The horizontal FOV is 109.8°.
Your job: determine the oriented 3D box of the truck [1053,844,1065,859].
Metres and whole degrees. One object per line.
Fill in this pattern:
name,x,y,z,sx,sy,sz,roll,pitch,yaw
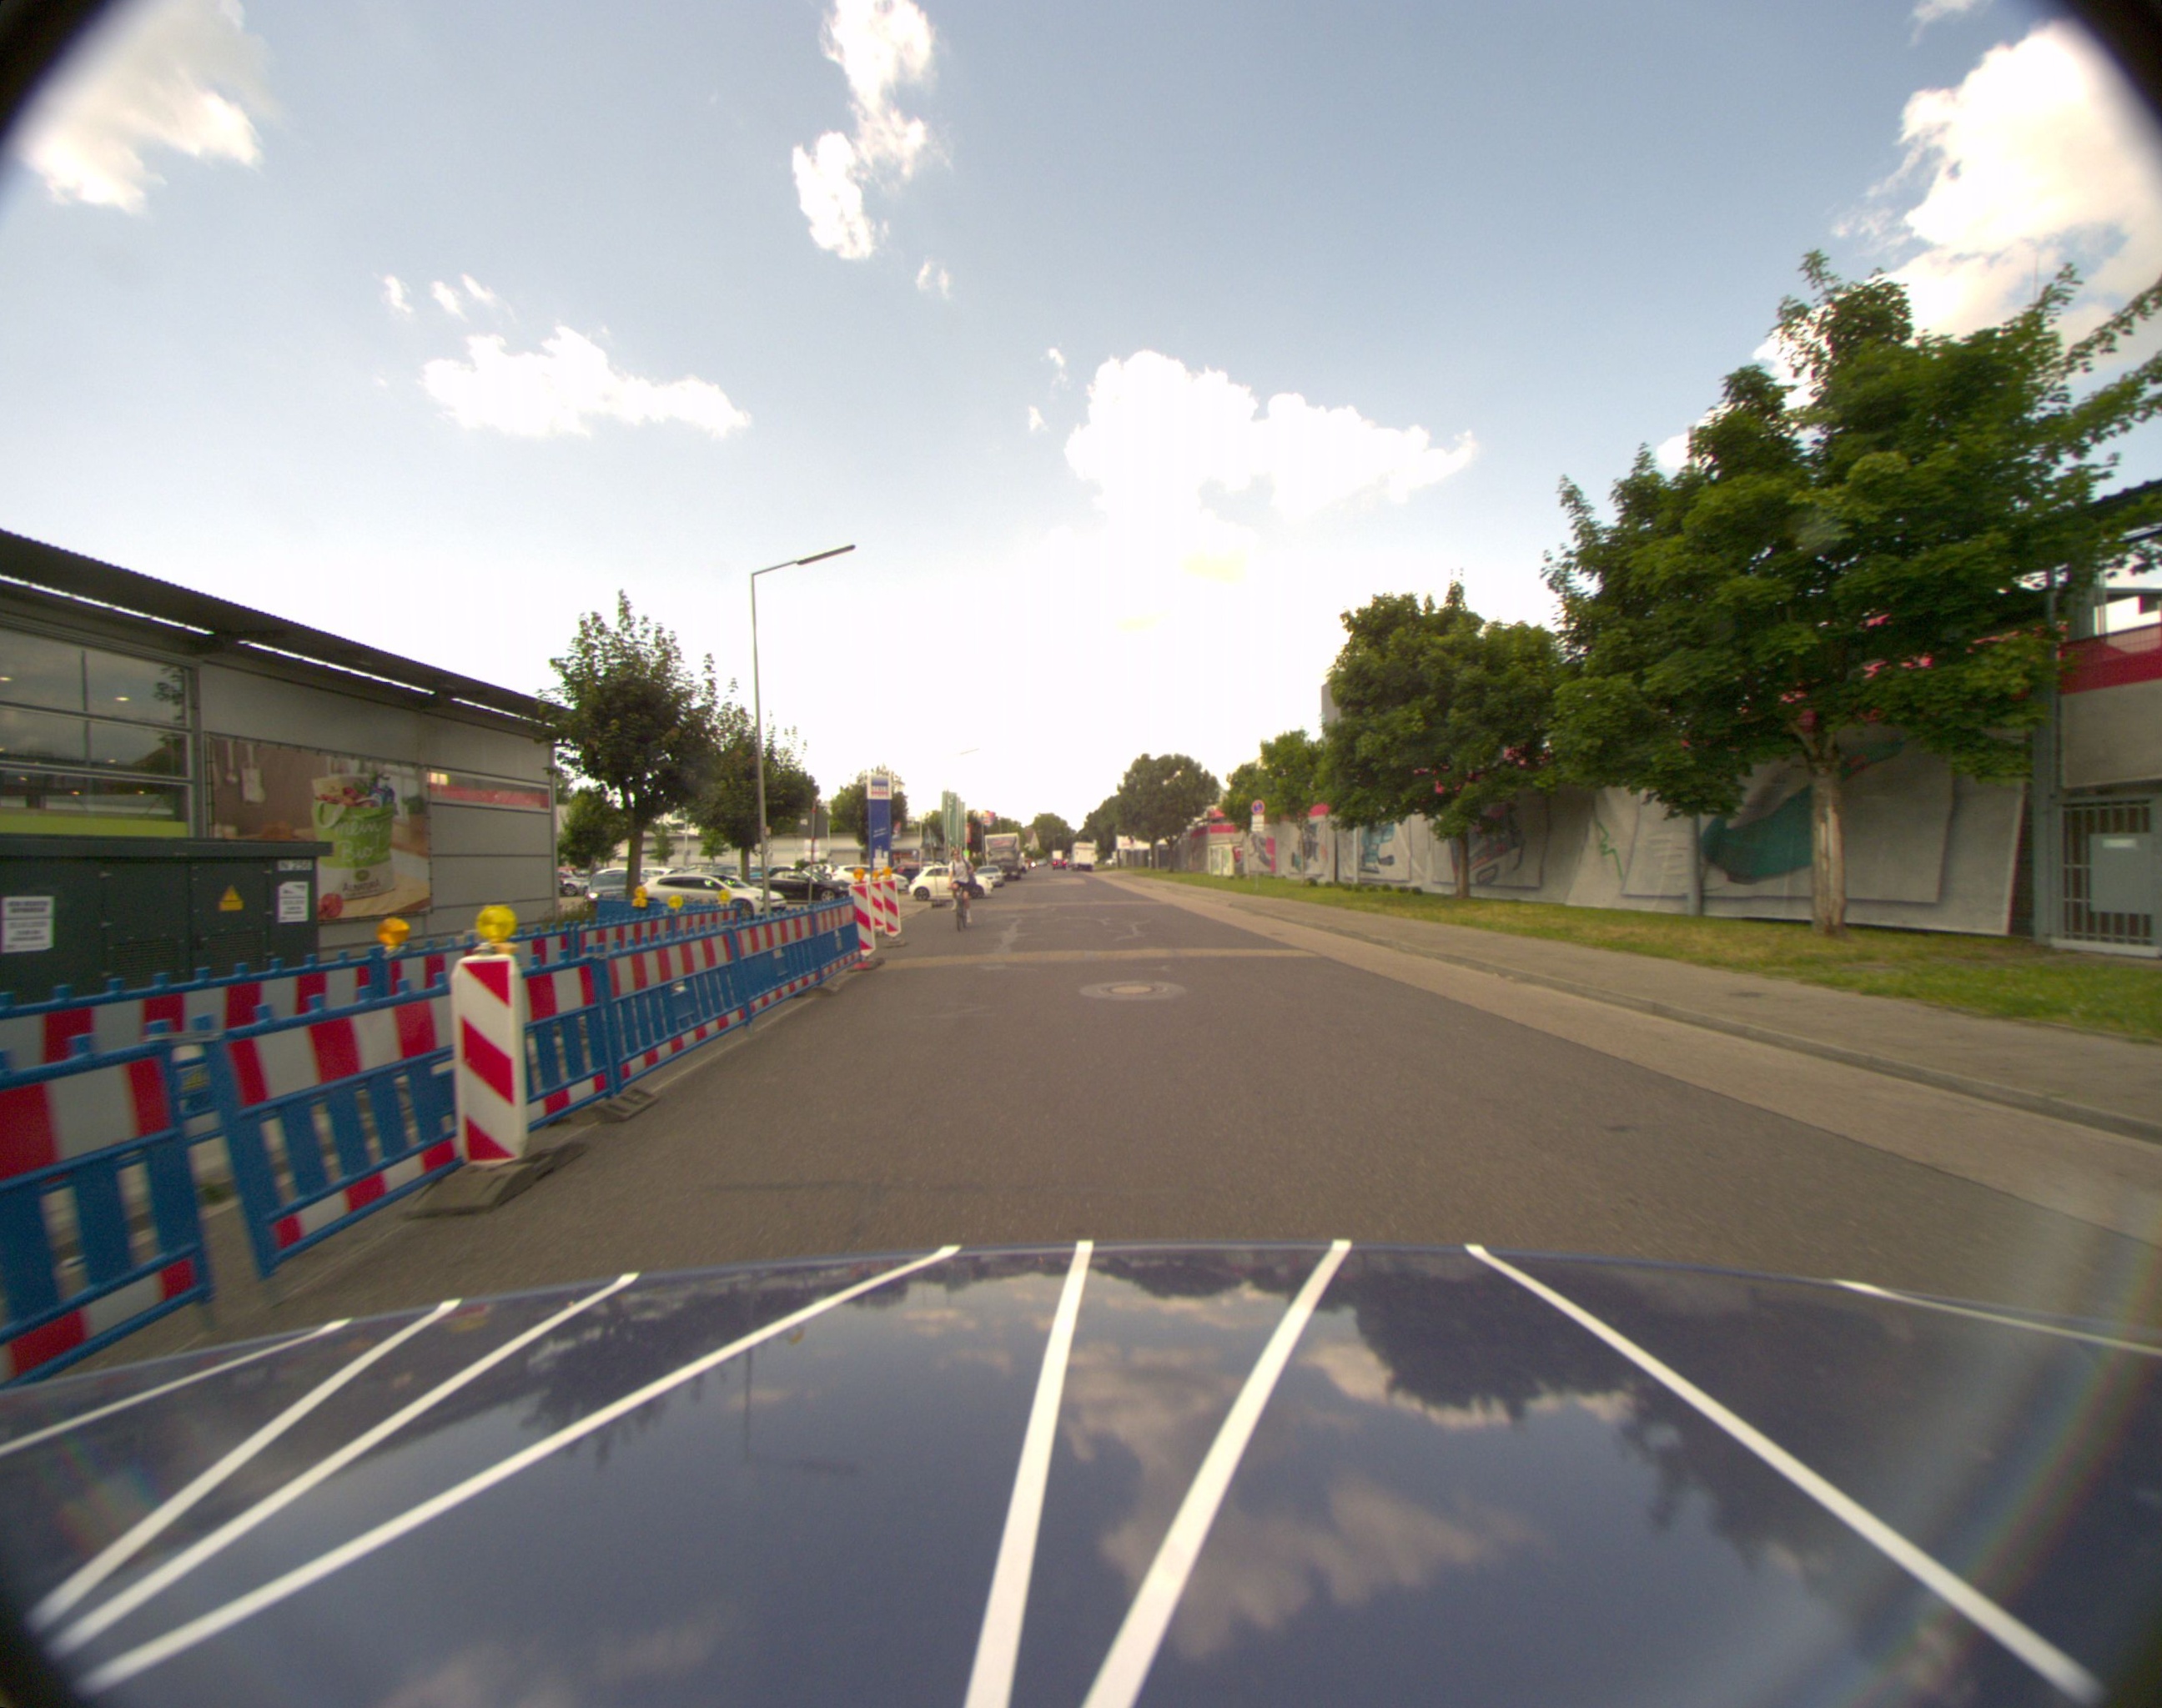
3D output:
truck,-6.432,-0.708,221.045,2.980,4.131,9.664,-1,0,-3

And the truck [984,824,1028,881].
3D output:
truck,-5.951,-0.084,61.364,2.786,4.092,8.277,-4,0,-2

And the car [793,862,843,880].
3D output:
car,-23.540,1.514,68.092,3.947,1.475,1.724,0,0,-5

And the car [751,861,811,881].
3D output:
car,-23.070,1.319,58.462,3.947,1.475,1.724,0,0,-5

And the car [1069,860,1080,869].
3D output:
car,-1.224,1.931,140.803,1.983,1.565,3.999,-1,0,-3

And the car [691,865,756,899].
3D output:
car,-17.803,1.371,38.024,1.724,1.510,3.751,-2,0,-5

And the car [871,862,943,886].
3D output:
car,-11.192,1.270,49.077,4.320,1.435,1.846,0,0,-4

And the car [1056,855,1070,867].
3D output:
car,-2.580,1.018,110.336,1.879,1.610,4.293,3,0,-2

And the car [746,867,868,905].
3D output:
car,-10.859,1.260,30.326,4.191,1.422,1.806,0,0,-1

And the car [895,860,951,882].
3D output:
car,-11.678,1.252,56.307,3.896,1.513,1.748,0,0,-8

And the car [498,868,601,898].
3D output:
car,-28.136,1.522,40.336,4.130,1.475,1.724,0,0,-5

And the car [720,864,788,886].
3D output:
car,-22.865,1.490,53.232,3.993,1.475,1.740,0,0,-5

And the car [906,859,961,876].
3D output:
car,-12.830,1.172,66.453,4.494,1.429,1.858,0,0,-4

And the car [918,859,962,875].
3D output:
car,-13.235,1.238,71.623,3.821,1.490,1.653,0,0,-2

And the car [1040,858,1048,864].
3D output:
car,-8.949,1.625,183.084,1.983,1.467,3.999,-1,0,-3

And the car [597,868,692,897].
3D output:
car,-23.422,1.503,40.858,4.070,1.475,1.724,0,0,-5

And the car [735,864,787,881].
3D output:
car,-28.658,1.680,68.057,3.947,1.475,1.724,0,0,-5

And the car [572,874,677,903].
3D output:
car,-22.819,1.724,38.130,4.116,1.330,1.793,0,0,-5

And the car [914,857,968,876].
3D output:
car,-13.588,1.199,74.035,4.907,1.777,1.902,0,0,-3

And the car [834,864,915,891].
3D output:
car,-11.172,1.267,41.262,3.964,1.402,1.796,0,0,-6

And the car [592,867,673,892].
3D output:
car,-28.111,1.590,47.760,4.021,1.475,1.724,0,0,-5

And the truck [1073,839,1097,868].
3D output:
truck,0.510,-0.094,101.340,2.755,3.701,7.169,0,0,-3

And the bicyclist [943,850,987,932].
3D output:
bicyclist,-2.681,0.828,17.674,0.809,1.782,1.206,-3,1,-3

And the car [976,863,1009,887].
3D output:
car,-5.536,1.281,47.926,1.666,1.332,3.984,-5,0,-3

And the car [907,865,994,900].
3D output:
car,-5.605,1.223,33.051,3.611,1.461,1.688,0,0,-6

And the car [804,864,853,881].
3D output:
car,-23.369,1.699,70.427,3.947,1.475,1.724,0,0,-5

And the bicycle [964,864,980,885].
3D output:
bicycle,-7.306,1.356,51.111,0.794,1.287,1.882,2,0,-1

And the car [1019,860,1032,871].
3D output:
car,-7.860,1.678,107.924,1.699,1.448,3.549,-4,0,-3

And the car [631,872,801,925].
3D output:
car,-10.758,1.278,22.659,4.114,1.454,1.989,0,0,-3

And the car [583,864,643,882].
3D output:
car,-40.030,1.592,65.016,4.026,1.475,1.724,0,0,-5

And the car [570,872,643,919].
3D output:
car,-17.156,1.425,27.390,1.690,1.403,4.375,-3,2,-39

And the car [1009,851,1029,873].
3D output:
car,-7.375,0.911,90.124,2.057,2.395,5.453,-4,0,-3

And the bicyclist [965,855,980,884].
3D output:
bicyclist,-7.293,1.054,51.133,0.796,1.899,0.829,2,1,0

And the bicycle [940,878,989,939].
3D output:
bicycle,-2.662,1.213,17.653,0.800,1.173,2.626,-3,0,-3
